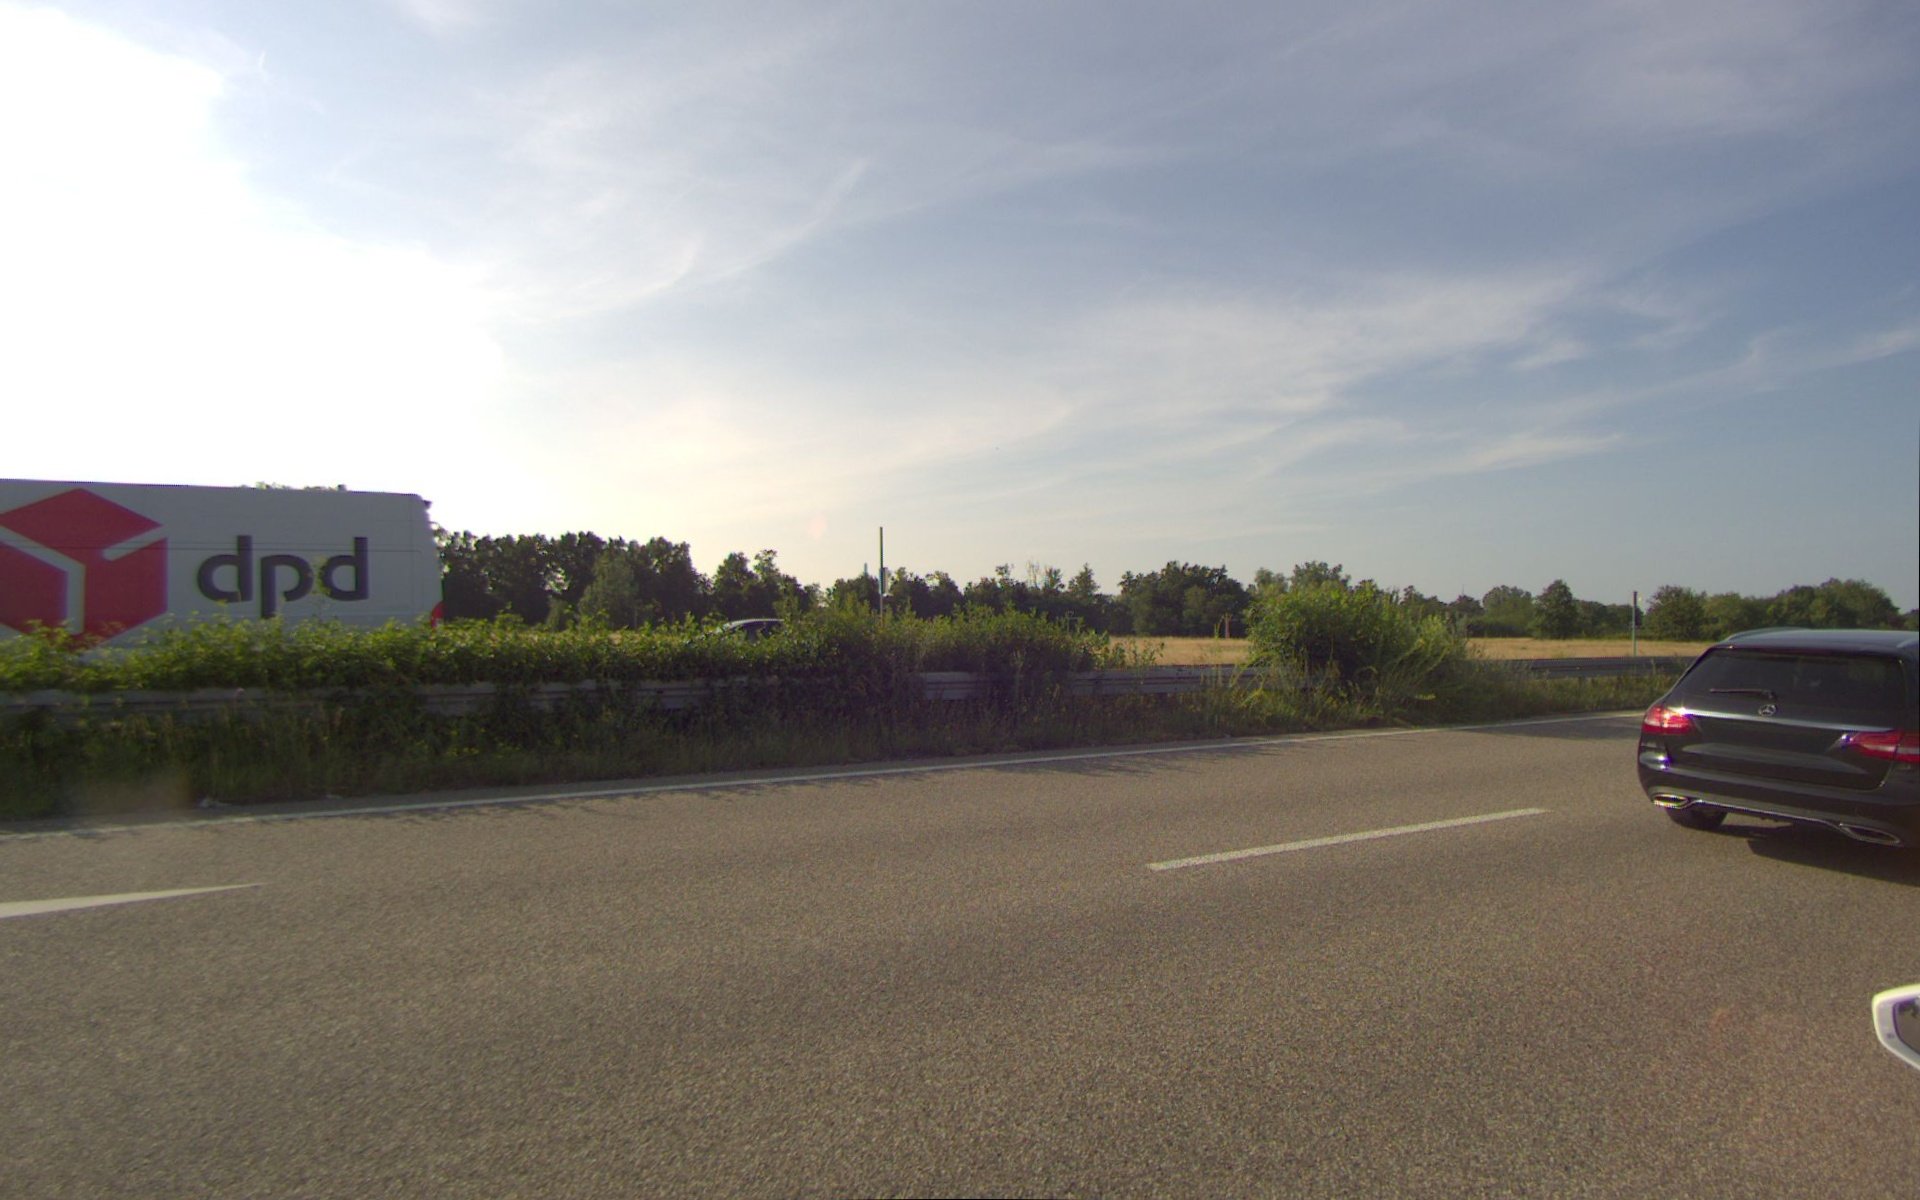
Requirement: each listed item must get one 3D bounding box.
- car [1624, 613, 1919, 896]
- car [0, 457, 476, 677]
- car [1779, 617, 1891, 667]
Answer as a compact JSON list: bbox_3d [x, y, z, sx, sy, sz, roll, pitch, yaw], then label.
[{"bbox_3d":[6.892,0.868,7.172,4.963,1.490,1.565,1,-1,-30],"label":"car"},{"bbox_3d":[-8.775,-0.288,10.814,6.250,2.062,2.151,2,0,-31],"label":"car"},{"bbox_3d":[27.681,1.318,31.775,3.578,1.460,1.602,2,0,-30],"label":"car"}]
